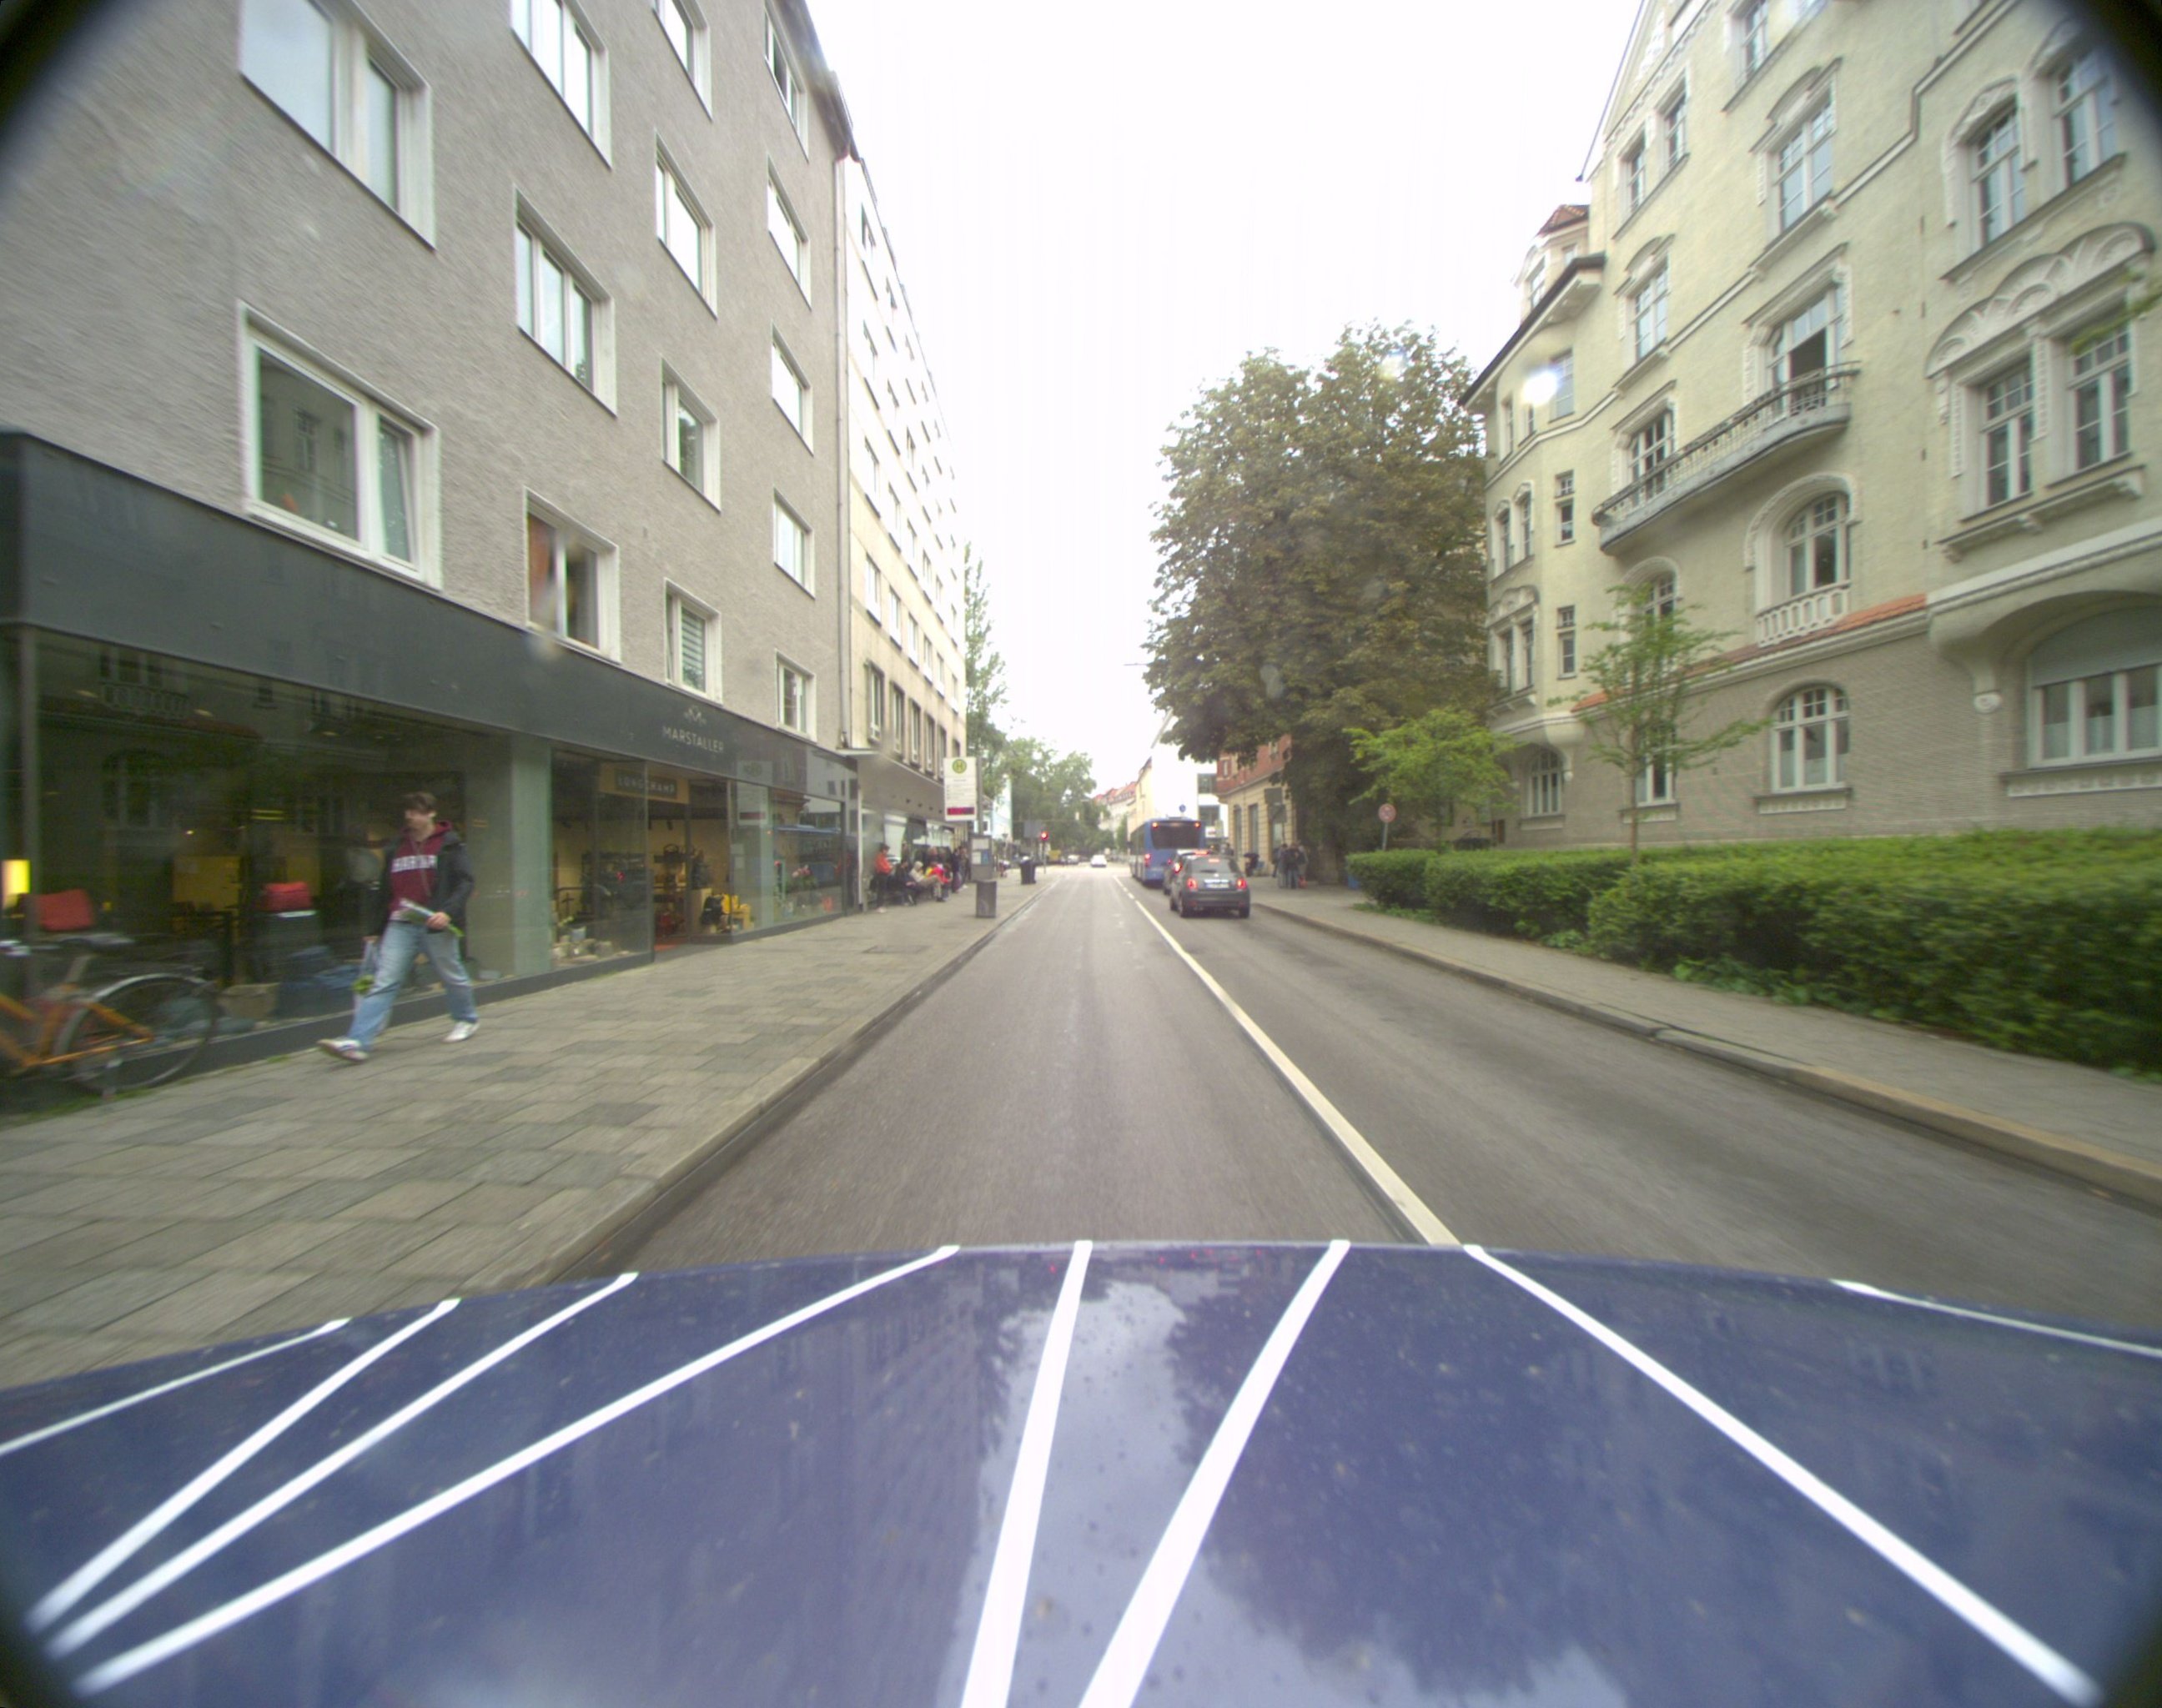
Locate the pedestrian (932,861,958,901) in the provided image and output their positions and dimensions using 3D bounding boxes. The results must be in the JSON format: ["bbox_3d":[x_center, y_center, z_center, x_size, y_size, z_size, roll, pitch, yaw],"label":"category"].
[{"bbox_3d":[-4.294,0.842,23.995,0.709,1.230,0.585,0,1,2],"label":"pedestrian"}]

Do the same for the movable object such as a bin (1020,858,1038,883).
[{"bbox_3d":[-2.592,0.807,37.603,0.877,1.243,0.798,0,1,-4],"label":"movable object such as a bin"}]

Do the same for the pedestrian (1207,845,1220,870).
[{"bbox_3d":[10.596,0.289,60.757,0.952,2.002,1.397,0,1,11],"label":"pedestrian"}]

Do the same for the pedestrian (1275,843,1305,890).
[{"bbox_3d":[7.873,0.457,28.694,0.910,1.735,0.847,-1,1,1],"label":"pedestrian"}]

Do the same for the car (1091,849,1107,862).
[{"bbox_3d":[2.315,0.224,97.310,1.927,1.608,4.000,-1,1,1],"label":"car"}]

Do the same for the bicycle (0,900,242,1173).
[{"bbox_3d":[-5.558,0.934,3.857,0.513,1.253,1.820,3,1,1],"label":"bicycle"}]

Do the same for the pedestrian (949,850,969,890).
[{"bbox_3d":[-4.844,0.631,30.253,0.659,1.584,0.696,0,1,2],"label":"pedestrian"}]

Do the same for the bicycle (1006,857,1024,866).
[{"bbox_3d":[-8.162,0.879,93.651,2.124,1.110,0.738,0,1,-9],"label":"bicycle"}]

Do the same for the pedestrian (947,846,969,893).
[{"bbox_3d":[-4.596,0.577,28.380,0.659,1.723,0.696,0,1,2],"label":"pedestrian"}]

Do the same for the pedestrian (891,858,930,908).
[{"bbox_3d":[-4.751,0.794,21.267,0.862,1.344,0.862,0,1,2],"label":"pedestrian"}]

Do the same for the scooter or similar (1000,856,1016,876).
[{"bbox_3d":[-4.606,0.743,48.153,0.563,1.234,1.445,-1,1,11],"label":"scooter or similar"}]

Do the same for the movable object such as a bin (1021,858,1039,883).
[{"bbox_3d":[-2.581,0.811,38.447,0.877,1.243,0.798,0,1,-4],"label":"movable object such as a bin"}]

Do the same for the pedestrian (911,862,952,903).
[{"bbox_3d":[-4.512,0.851,22.959,1.099,1.230,0.668,0,1,2],"label":"pedestrian"}]

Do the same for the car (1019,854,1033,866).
[{"bbox_3d":[-7.719,0.841,107.449,1.718,1.543,3.999,0,0,0],"label":"car"}]

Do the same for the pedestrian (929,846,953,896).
[{"bbox_3d":[-4.887,0.585,26.476,0.659,1.723,0.778,0,1,2],"label":"pedestrian"}]

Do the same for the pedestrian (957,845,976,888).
[{"bbox_3d":[-4.838,0.526,32.237,0.659,1.773,0.771,0,1,2],"label":"pedestrian"}]

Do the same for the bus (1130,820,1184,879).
[{"bbox_3d":[4.297,-0.275,44.575,2.585,3.083,9.108,0,0,2],"label":"bus"}]

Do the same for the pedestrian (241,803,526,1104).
[{"bbox_3d":[-4.860,0.629,5.411,0.929,1.899,1.179,1,1,1],"label":"pedestrian"}]

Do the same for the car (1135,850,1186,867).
[{"bbox_3d":[6.830,0.407,65.298,4.168,1.420,2.000,0,1,0],"label":"car"}]

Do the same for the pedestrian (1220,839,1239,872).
[{"bbox_3d":[9.149,0.104,46.847,0.832,2.002,0.778,-2,1,-42],"label":"pedestrian"}]

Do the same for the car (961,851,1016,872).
[{"bbox_3d":[-7.989,0.617,65.728,4.460,1.738,1.871,0,1,0],"label":"car"}]

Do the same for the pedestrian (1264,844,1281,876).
[{"bbox_3d":[9.276,0.308,36.777,0.625,1.529,0.754,0,1,-1],"label":"pedestrian"}]

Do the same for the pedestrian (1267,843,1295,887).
[{"bbox_3d":[8.002,0.429,30.440,0.875,1.735,0.910,-1,1,1],"label":"pedestrian"}]

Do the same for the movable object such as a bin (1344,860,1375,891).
[{"bbox_3d":[9.911,0.758,27.071,0.813,1.080,0.623,-1,1,-8],"label":"movable object such as a bin"}]

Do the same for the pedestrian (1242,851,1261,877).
[{"bbox_3d":[8.762,0.505,39.108,0.830,1.333,0.754,0,1,-1],"label":"pedestrian"}]

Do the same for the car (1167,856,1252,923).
[{"bbox_3d":[3.127,0.818,19.170,1.588,1.471,3.782,0,0,1],"label":"car"}]

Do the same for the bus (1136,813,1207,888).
[{"bbox_3d":[4.023,-0.162,35.651,2.585,3.083,8.923,0,0,2],"label":"bus"}]

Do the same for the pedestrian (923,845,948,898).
[{"bbox_3d":[-4.790,0.582,25.078,0.659,1.723,0.684,0,1,2],"label":"pedestrian"}]

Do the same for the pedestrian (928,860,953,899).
[{"bbox_3d":[-4.537,0.828,24.505,0.681,1.230,0.496,0,1,2],"label":"pedestrian"}]

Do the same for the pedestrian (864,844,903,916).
[{"bbox_3d":[-4.823,0.616,18.586,0.704,1.723,0.746,0,1,2],"label":"pedestrian"}]

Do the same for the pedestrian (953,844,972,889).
[{"bbox_3d":[-4.894,0.509,31.469,0.659,1.812,0.696,0,1,2],"label":"pedestrian"}]

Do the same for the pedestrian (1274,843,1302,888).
[{"bbox_3d":[8.057,0.431,29.550,0.875,1.735,0.786,-1,1,1],"label":"pedestrian"}]

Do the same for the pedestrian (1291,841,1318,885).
[{"bbox_3d":[8.990,0.371,30.551,0.784,1.735,0.877,0,1,33],"label":"pedestrian"}]

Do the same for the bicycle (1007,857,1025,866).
[{"bbox_3d":[-8.097,0.882,94.690,2.124,1.110,0.738,0,1,-9],"label":"bicycle"}]

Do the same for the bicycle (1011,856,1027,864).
[{"bbox_3d":[-8.273,0.775,101.696,2.124,1.110,0.629,0,1,-9],"label":"bicycle"}]

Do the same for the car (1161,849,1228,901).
[{"bbox_3d":[3.814,0.640,26.124,1.772,1.635,4.273,0,0,1],"label":"car"}]
